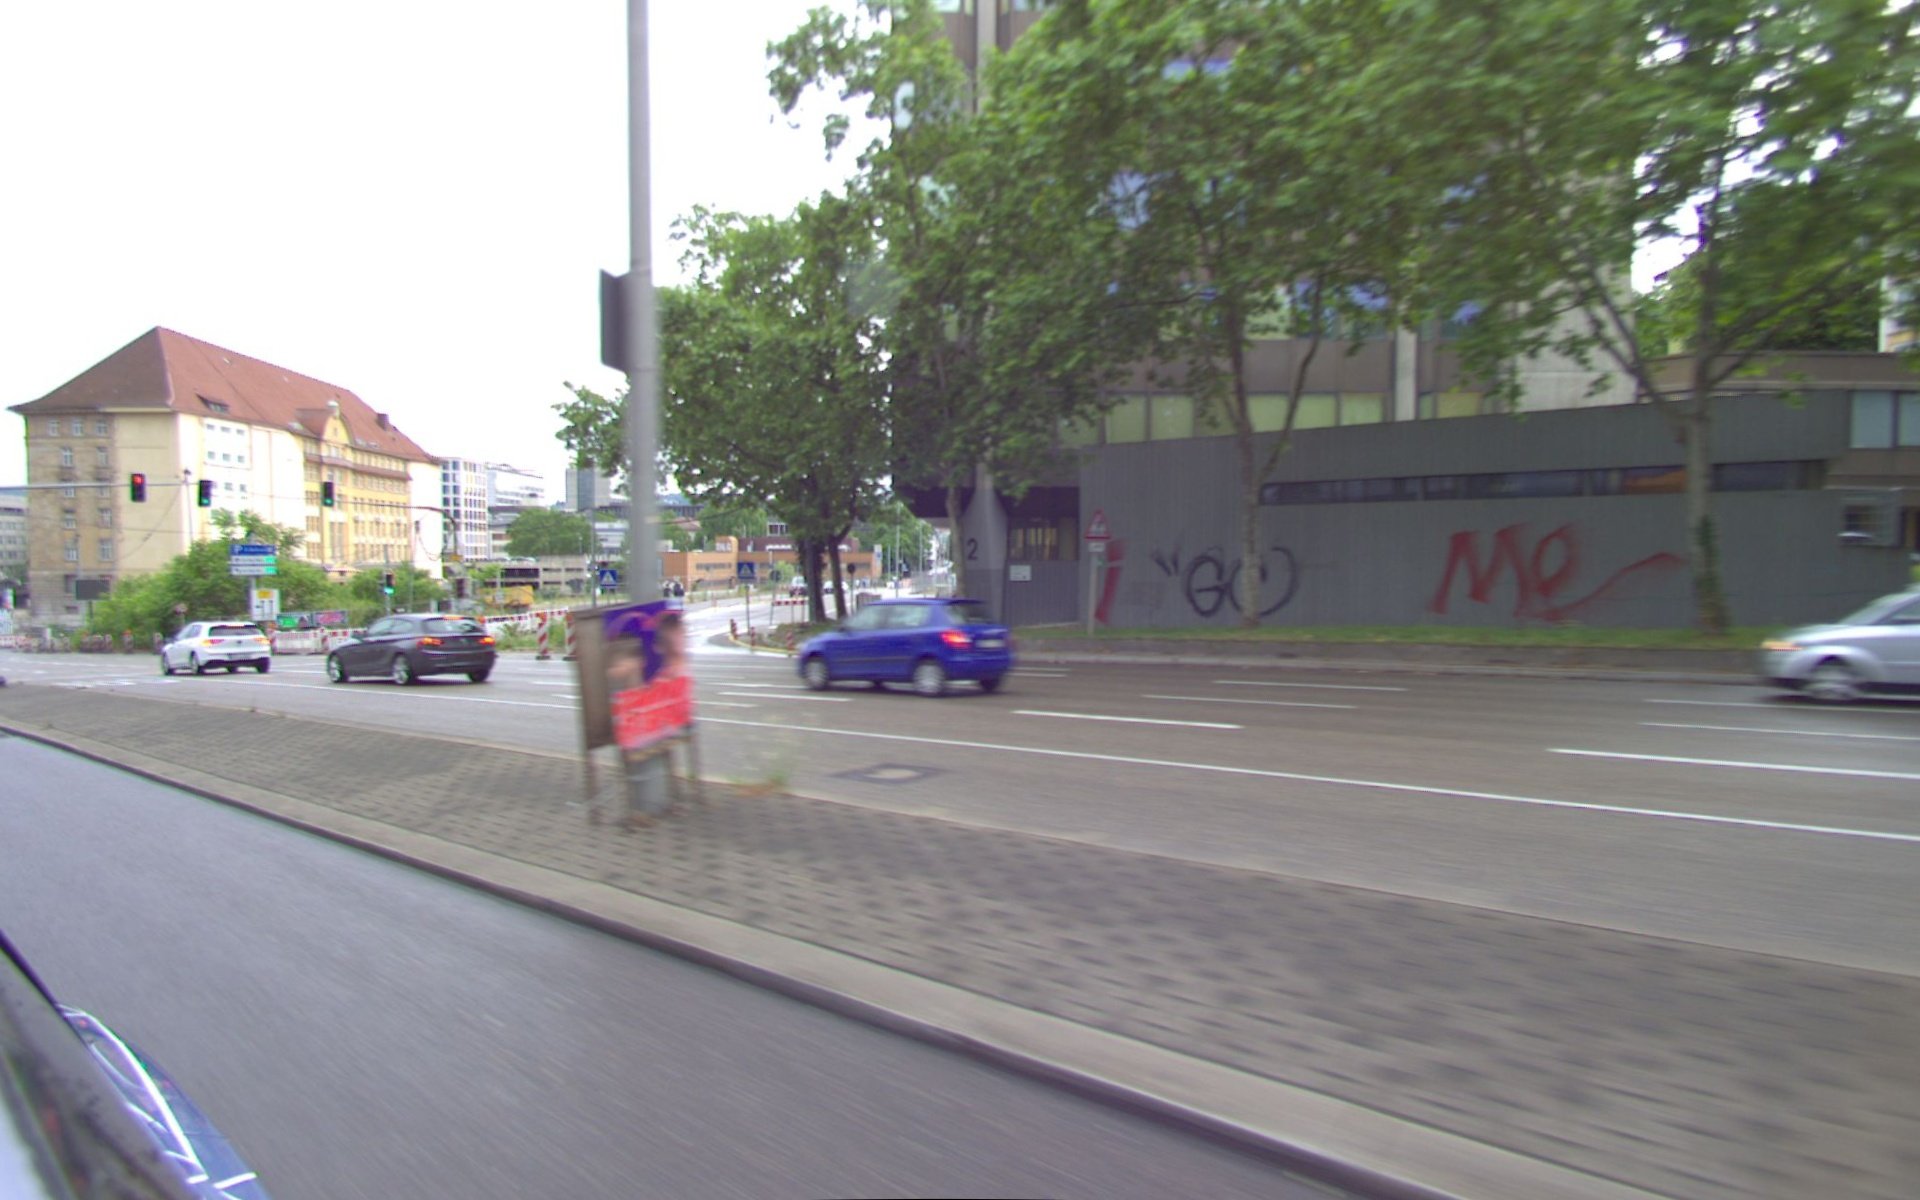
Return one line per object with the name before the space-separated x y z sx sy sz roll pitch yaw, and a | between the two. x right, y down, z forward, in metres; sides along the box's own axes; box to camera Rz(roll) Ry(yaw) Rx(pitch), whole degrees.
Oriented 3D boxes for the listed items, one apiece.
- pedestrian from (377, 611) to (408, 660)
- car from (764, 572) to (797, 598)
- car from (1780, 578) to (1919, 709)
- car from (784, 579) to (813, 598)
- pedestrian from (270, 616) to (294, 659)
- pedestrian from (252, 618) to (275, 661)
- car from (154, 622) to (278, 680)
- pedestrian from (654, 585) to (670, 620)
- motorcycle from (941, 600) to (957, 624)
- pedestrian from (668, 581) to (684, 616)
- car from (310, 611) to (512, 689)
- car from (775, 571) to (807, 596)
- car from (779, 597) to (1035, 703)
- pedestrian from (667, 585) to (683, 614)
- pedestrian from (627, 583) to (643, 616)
pedestrian | -22.545 1.405 40.211 0.744 1.894 0.736 0 2 29
car | -14.057 -1.223 79.432 1.789 1.980 3.999 -1 2 1
car | 12.169 0.480 11.948 3.755 1.502 1.581 -2 0 43
car | -15.059 -1.063 94.403 1.973 1.718 3.999 -1 2 1
pedestrian | -31.571 1.728 47.119 0.742 1.937 0.753 1 2 41
pedestrian | -32.081 1.786 46.588 0.775 1.915 0.665 1 2 41
car | -21.102 1.425 28.661 4.354 1.472 1.744 -2 -1 38
pedestrian | -18.560 0.148 62.973 0.737 2.187 0.701 -1 1 2
motorcycle | -0.481 0.535 46.509 0.558 1.045 2.181 -2 0 3
pedestrian | -17.674 -0.120 62.973 0.737 2.156 0.742 -2 1 2
car | -11.479 1.026 21.078 4.324 1.459 1.794 -2 -1 32
car | -14.220 -1.394 85.283 1.973 2.028 3.999 -1 2 1
car | -0.938 0.745 16.163 4.063 1.484 1.592 -2 -1 40
pedestrian | -18.912 -0.031 67.181 0.758 1.866 0.784 -3 0 2
pedestrian | -20.250 -0.057 63.063 0.737 2.028 0.709 -1 1 2
